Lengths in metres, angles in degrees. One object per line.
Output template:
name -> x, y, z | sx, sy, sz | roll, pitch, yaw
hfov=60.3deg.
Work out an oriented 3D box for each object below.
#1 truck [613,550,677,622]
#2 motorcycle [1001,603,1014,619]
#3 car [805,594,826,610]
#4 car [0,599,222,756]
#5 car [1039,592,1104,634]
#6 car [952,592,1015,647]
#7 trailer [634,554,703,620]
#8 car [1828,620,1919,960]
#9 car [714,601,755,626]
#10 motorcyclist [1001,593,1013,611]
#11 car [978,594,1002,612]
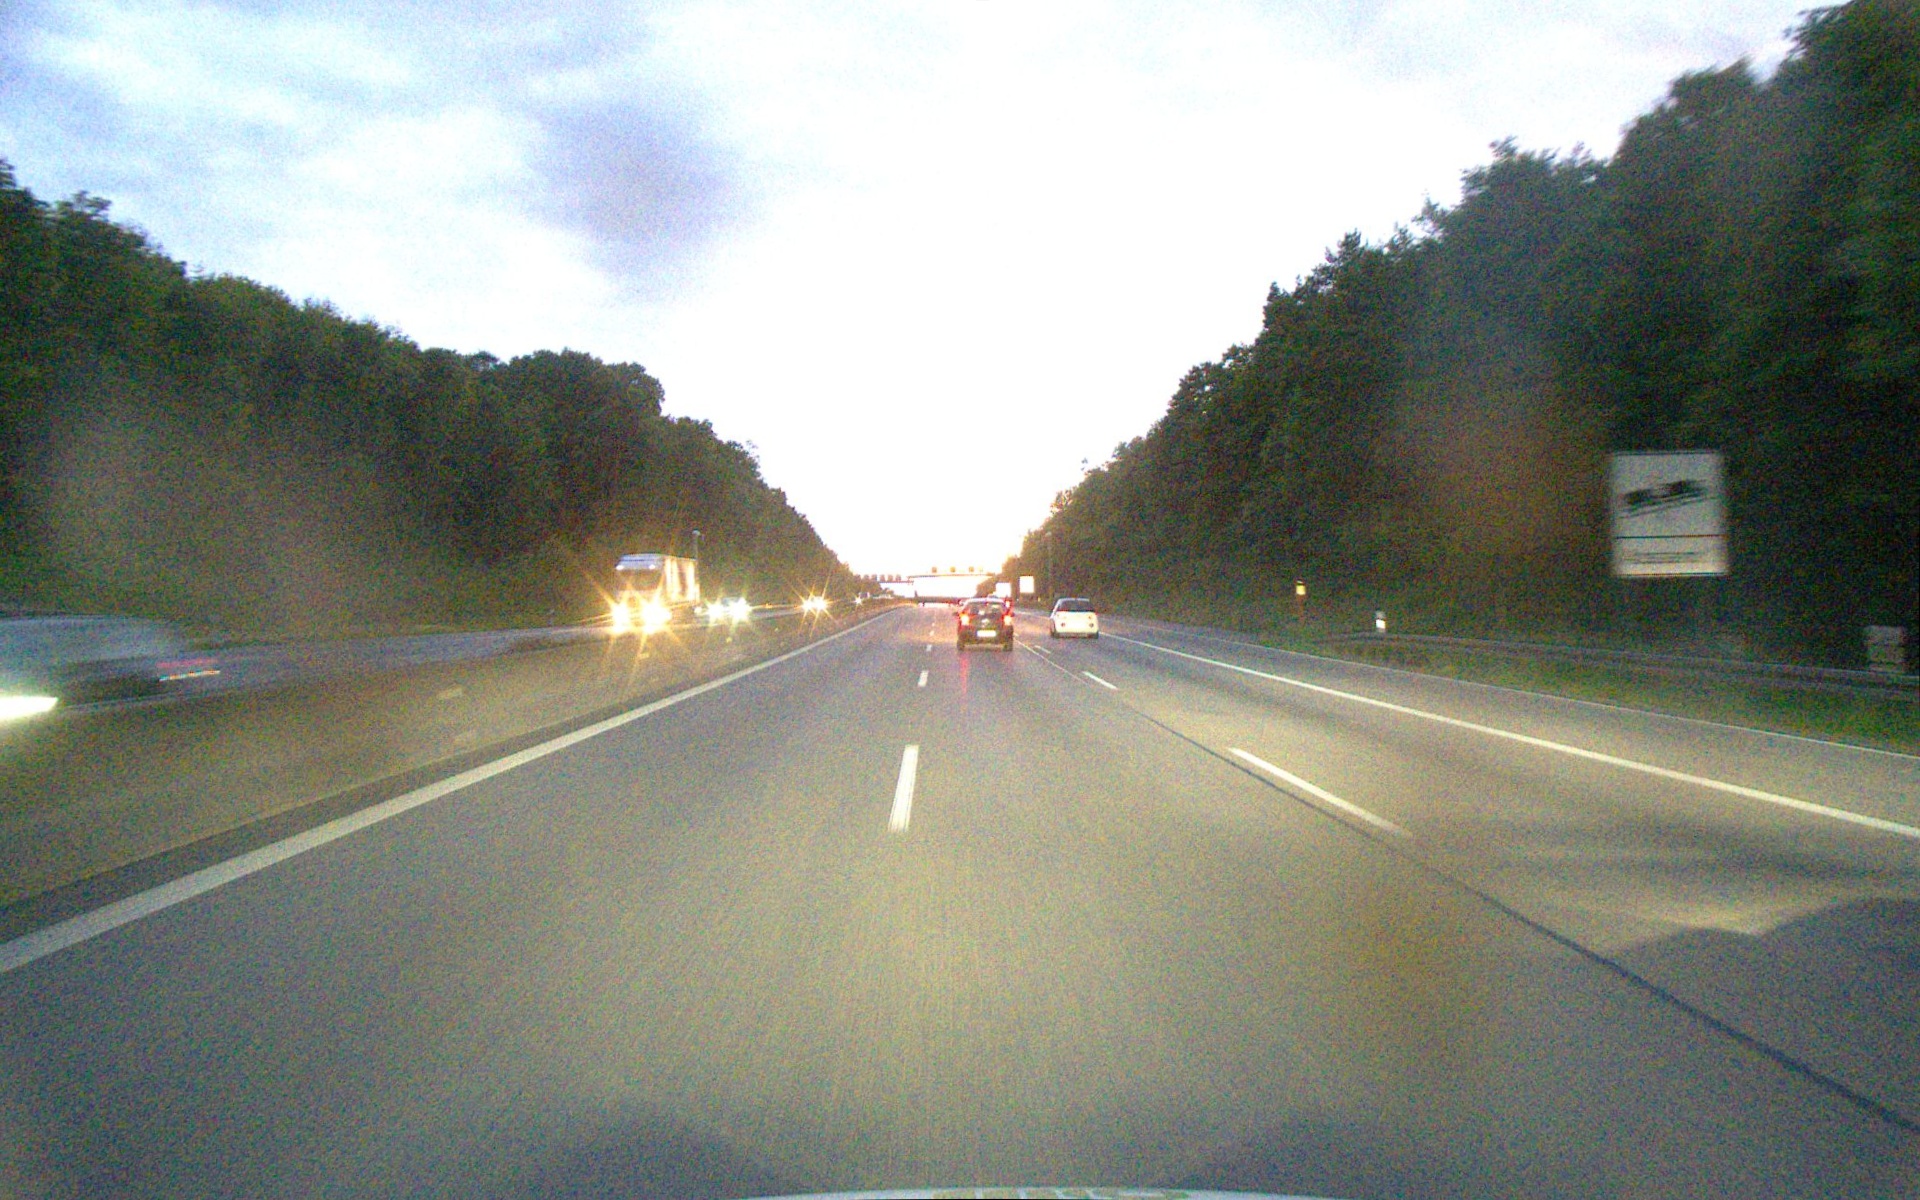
truck -> -18.463, -0.794, 97.340 | 2.593, 4.041, 7.119 | 0, 0, -1
motorcycle -> 3.450, 0.819, 120.454 | 0.813, 1.154, 2.475 | 0, -1, -1
car -> -15.366, 0.216, 175.823 | 1.842, 1.602, 4.653 | -1, 0, -1
car -> -9.510, 0.697, 17.169 | 1.813, 1.406, 4.642 | 0, 0, -3
car -> 4.203, 0.529, 62.714 | 1.790, 1.502, 4.393 | 1, -1, -5
car -> 0.656, 0.597, 49.011 | 1.669, 1.536, 4.230 | 1, -1, -1
trailer -> -18.577, -0.819, 105.979 | 2.593, 3.999, 10.184 | 0, 0, 0
car -> 5.096, 0.824, 5.571 | 1.827, 1.461, 4.582 | 1, 0, -2
car -> -14.128, 0.834, 103.909 | 1.871, 1.477, 5.354 | 0, 0, 0
motorcyclist -> 3.446, 0.172, 120.396 | 0.813, 1.314, 1.190 | 0, -1, -1
car -> 2.779, 0.268, 153.897 | 1.829, 1.520, 4.393 | 1, -1, -5
